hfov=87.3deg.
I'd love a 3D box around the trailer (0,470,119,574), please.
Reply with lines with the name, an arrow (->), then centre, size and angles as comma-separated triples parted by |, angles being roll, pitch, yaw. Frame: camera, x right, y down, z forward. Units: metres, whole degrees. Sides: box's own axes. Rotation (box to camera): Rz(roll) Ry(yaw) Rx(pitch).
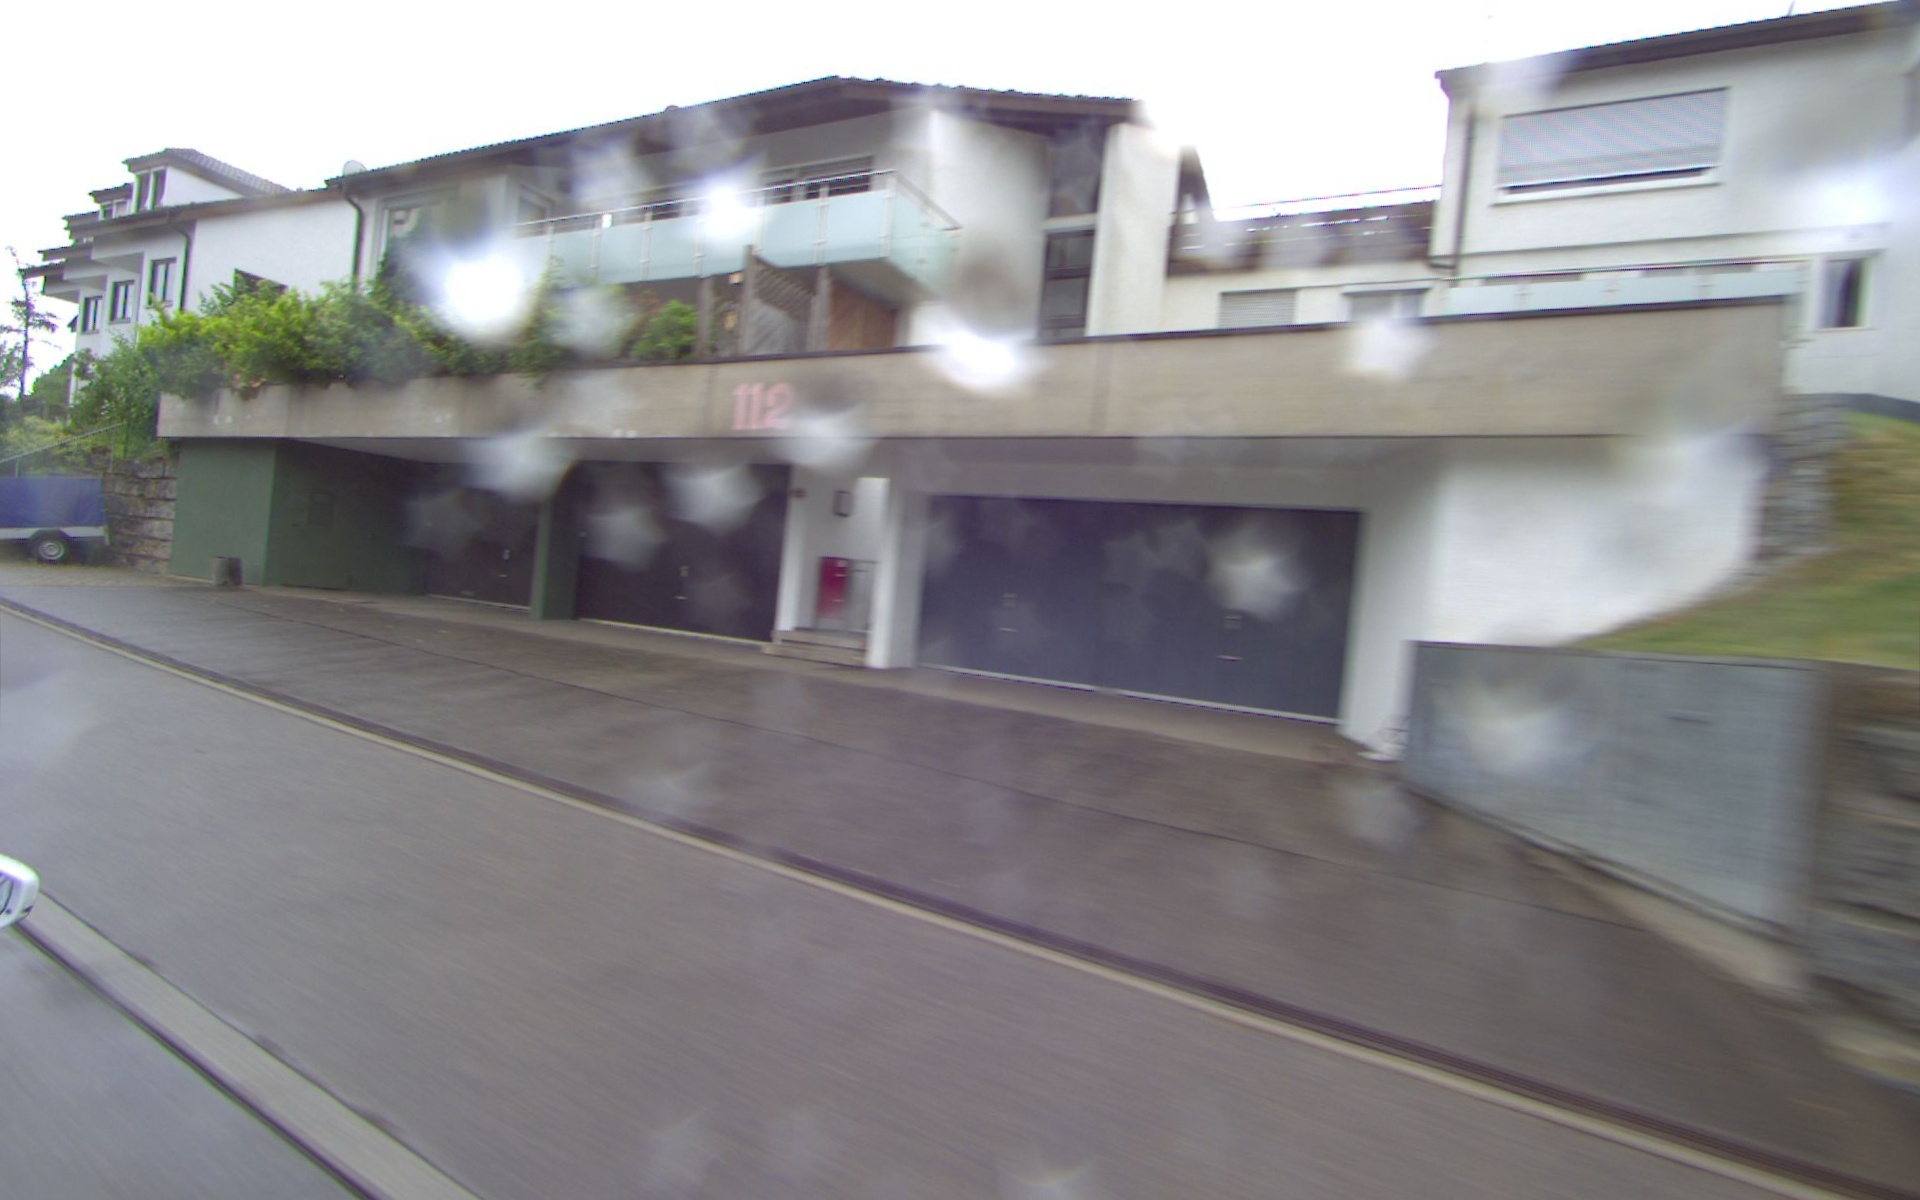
trailer -> -18.368, -1.578, 19.763 | 1.970, 1.769, 2.353 | 7, 0, 37
